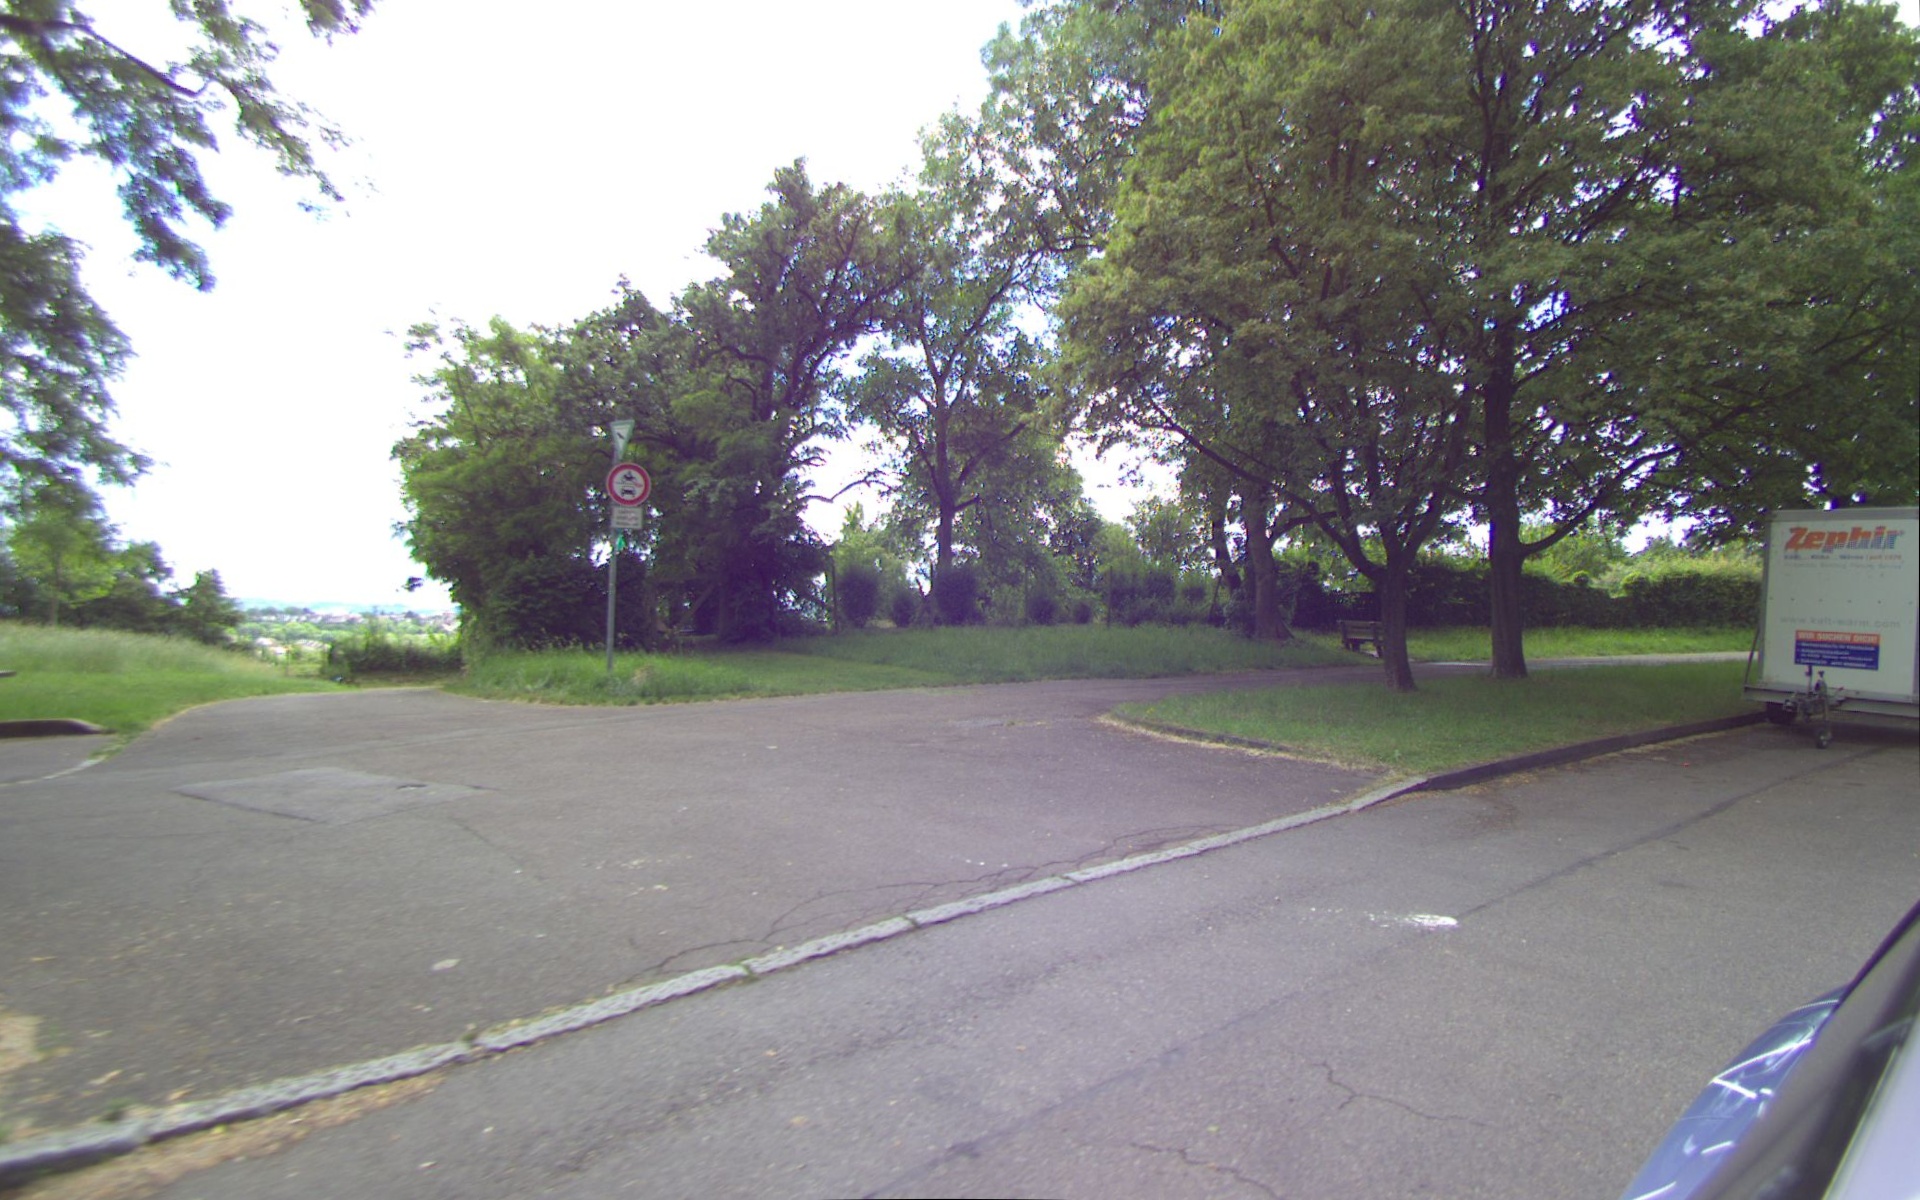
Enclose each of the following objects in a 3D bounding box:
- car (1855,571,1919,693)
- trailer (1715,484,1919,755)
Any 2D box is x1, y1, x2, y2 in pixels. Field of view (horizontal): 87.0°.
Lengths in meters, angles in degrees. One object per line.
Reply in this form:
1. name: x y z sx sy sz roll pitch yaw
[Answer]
1. car: 14.201 0.382 13.941 4.547 1.544 1.747 -1 2 -34
2. trailer: 9.886 0.145 10.833 3.813 2.457 1.767 0 1 -35
